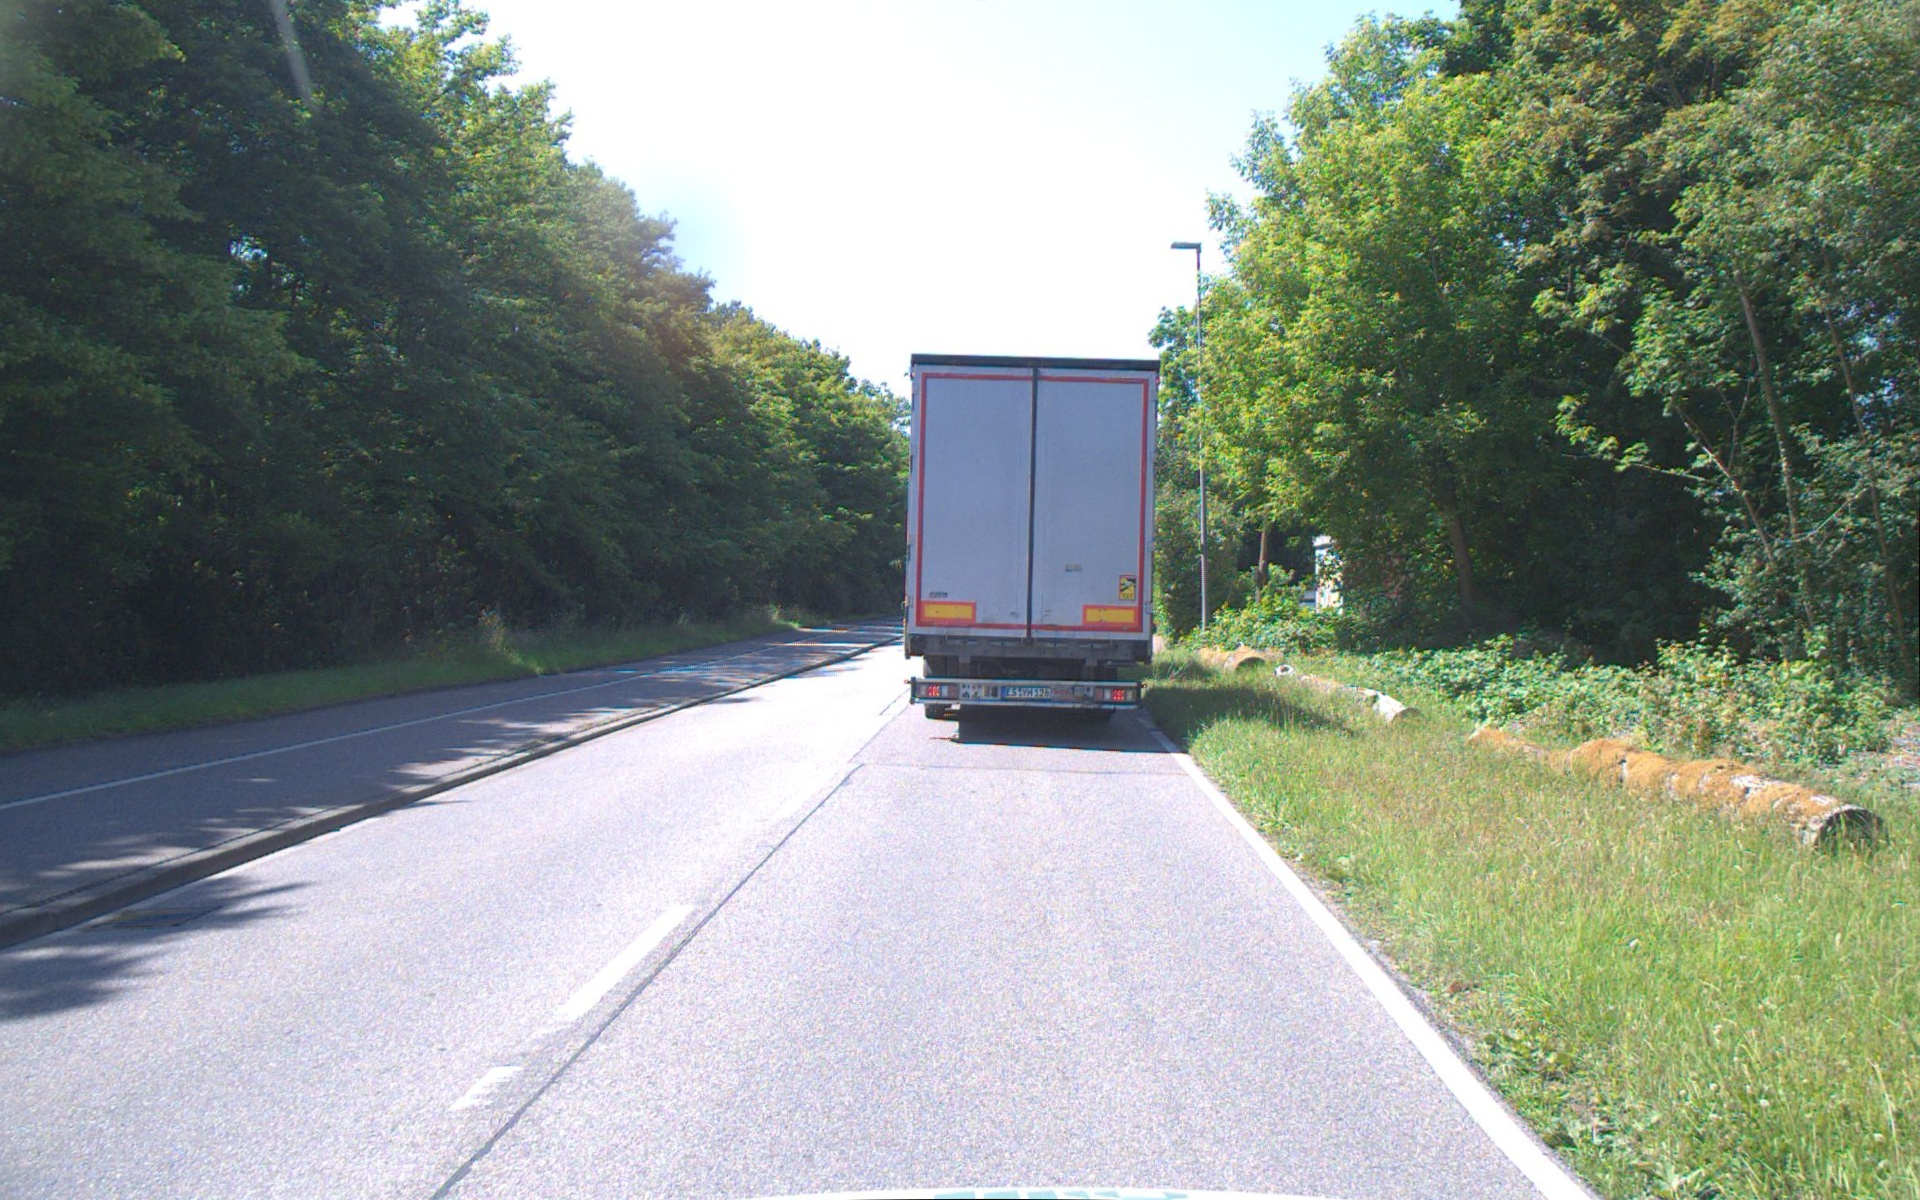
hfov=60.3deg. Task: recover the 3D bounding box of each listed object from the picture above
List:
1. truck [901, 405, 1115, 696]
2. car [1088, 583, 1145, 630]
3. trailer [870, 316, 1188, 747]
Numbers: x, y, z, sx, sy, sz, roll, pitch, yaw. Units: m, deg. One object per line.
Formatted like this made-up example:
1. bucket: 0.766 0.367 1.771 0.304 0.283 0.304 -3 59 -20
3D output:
1. truck: 0.685 -0.736 27.830 3.014 4.141 7.958 1 0 0
2. car: 5.303 0.196 56.311 1.675 1.557 3.851 0 0 1
3. trailer: 0.675 -0.703 21.164 3.014 4.141 9.808 2 0 0
